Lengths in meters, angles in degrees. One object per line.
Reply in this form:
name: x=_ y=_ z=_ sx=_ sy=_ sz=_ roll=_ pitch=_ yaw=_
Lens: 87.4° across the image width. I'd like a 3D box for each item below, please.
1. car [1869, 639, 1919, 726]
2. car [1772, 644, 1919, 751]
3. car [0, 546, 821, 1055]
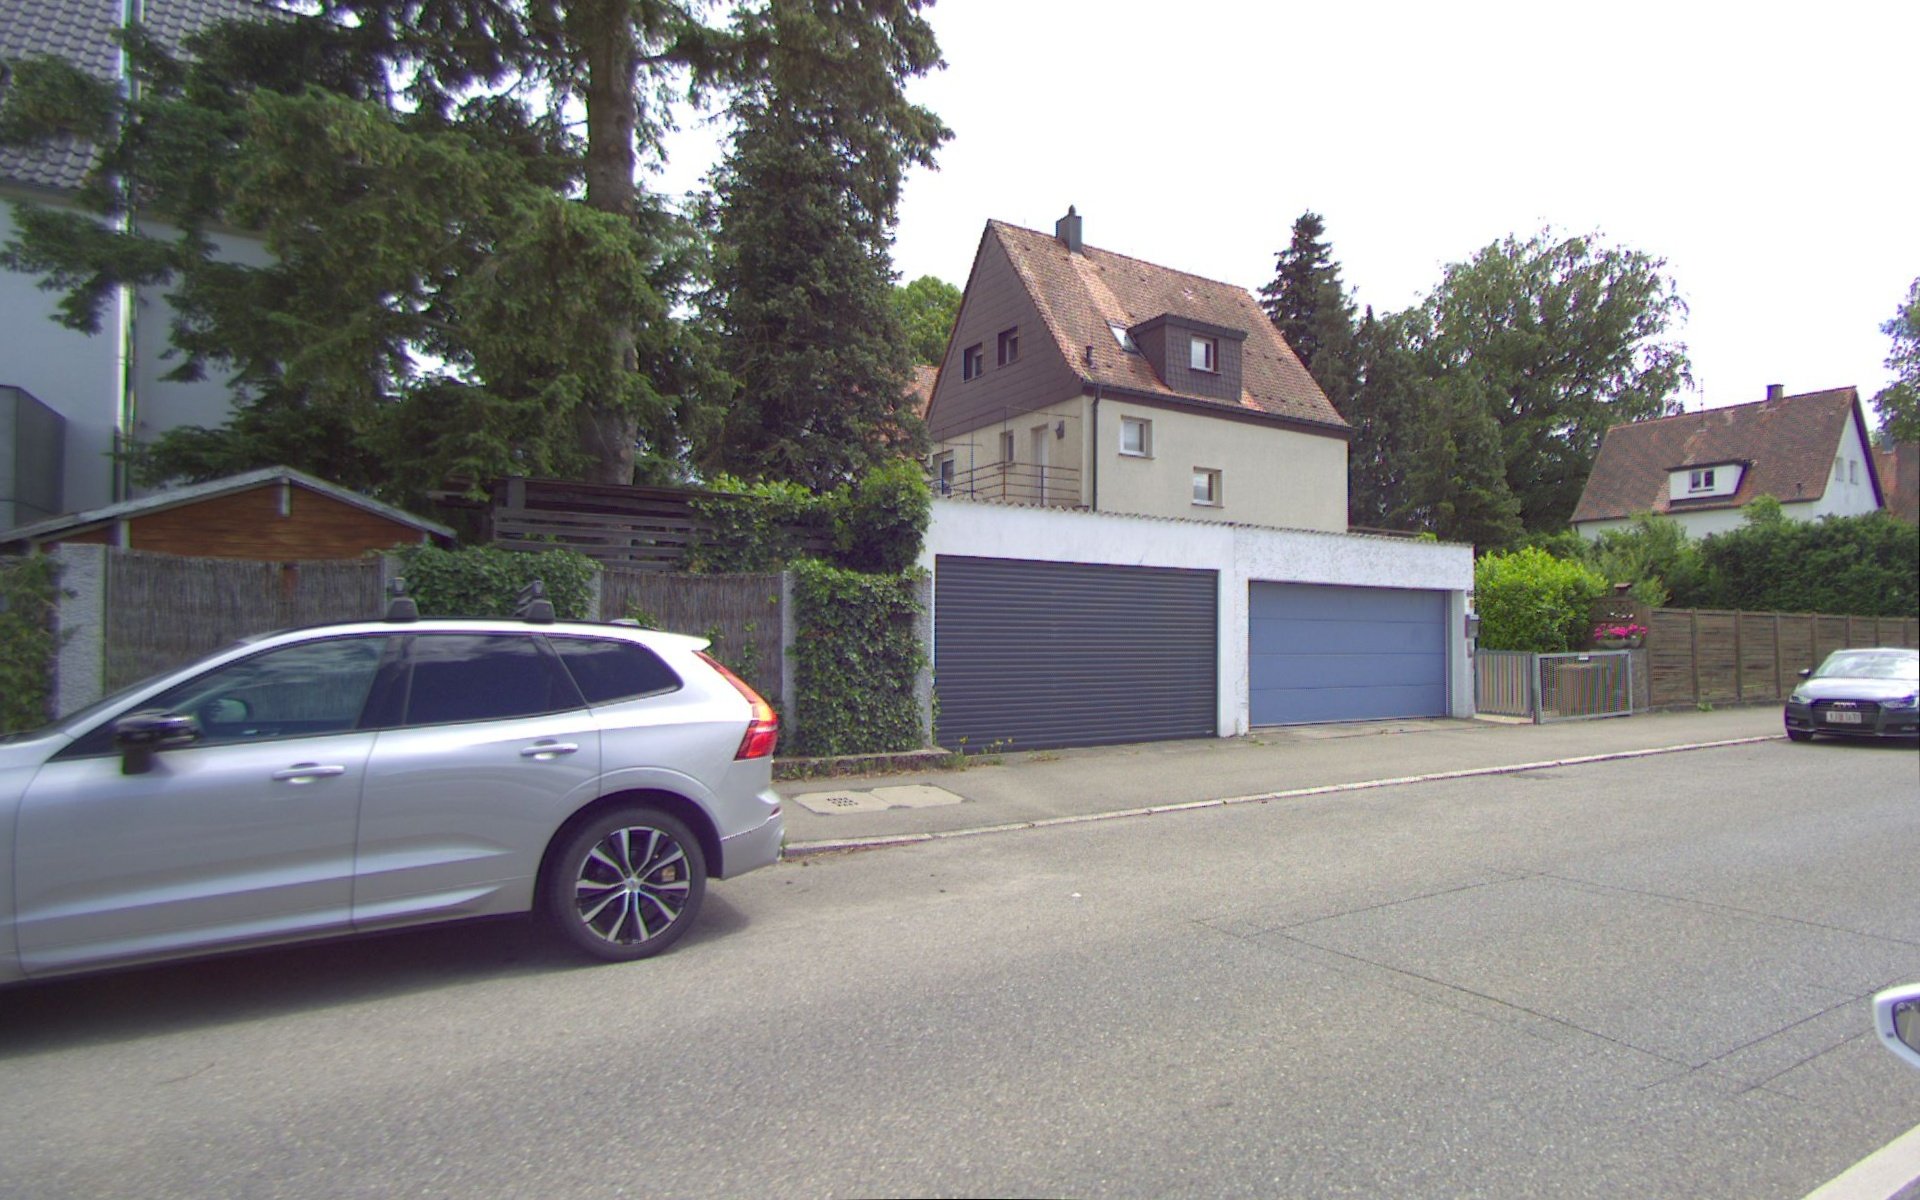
car: x=18.466 y=1.463 z=18.064 sx=4.435 sy=1.478 sz=1.859 roll=2 pitch=-2 yaw=-30
car: x=14.368 y=1.425 z=15.652 sx=3.866 sy=1.446 sz=1.641 roll=1 pitch=-3 yaw=-35
car: x=-3.218 y=0.757 z=4.945 sx=4.652 sy=1.843 sz=1.976 roll=1 pitch=-2 yaw=-30
